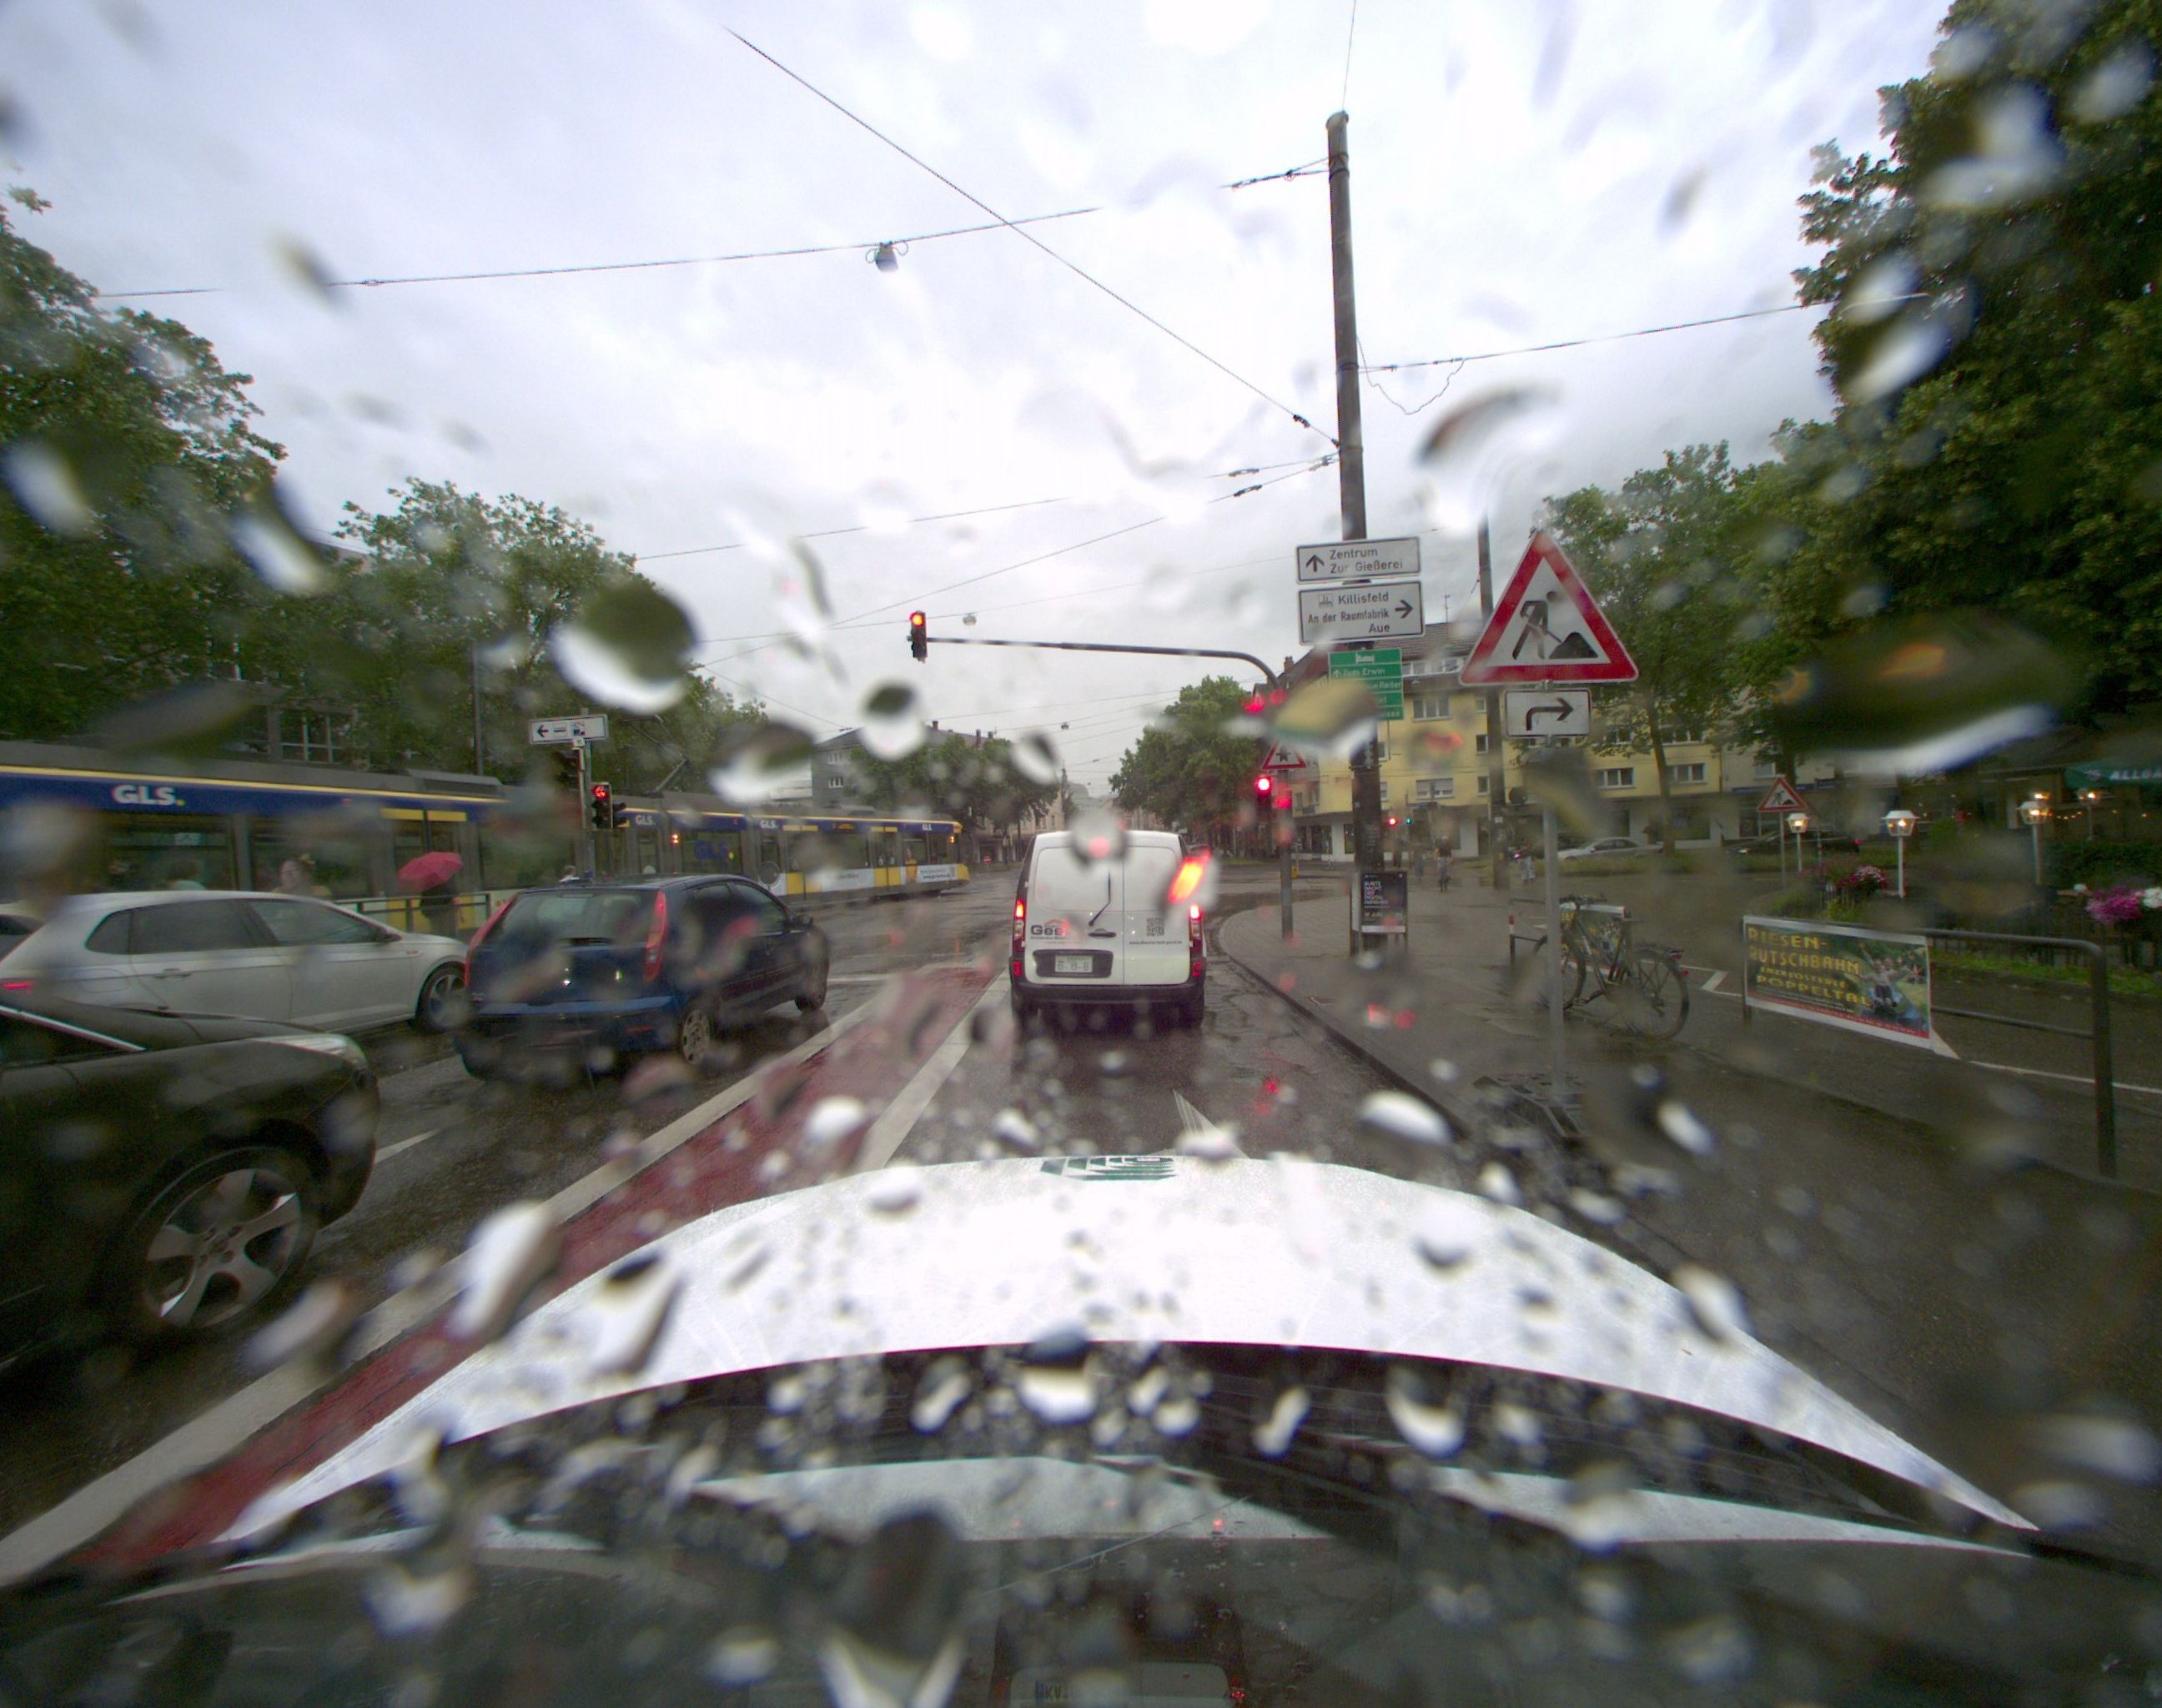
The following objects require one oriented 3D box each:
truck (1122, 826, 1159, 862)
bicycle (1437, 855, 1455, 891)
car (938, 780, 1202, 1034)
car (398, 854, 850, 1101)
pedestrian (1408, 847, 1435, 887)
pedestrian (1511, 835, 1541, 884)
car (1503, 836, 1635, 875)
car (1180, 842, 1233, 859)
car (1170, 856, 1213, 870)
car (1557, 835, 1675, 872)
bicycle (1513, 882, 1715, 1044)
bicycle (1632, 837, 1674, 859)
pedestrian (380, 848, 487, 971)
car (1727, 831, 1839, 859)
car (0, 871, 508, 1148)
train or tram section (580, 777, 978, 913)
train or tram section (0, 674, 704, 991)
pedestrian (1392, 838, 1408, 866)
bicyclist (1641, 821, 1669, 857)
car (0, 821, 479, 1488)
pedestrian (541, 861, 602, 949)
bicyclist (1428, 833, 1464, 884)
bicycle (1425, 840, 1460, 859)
[{"bbox_3d":[9.018,-1.411,125.541,3.463,5.087,15.284,-1,0,-4],"label":"truck"},{"bbox_3d":[11.676,0.592,26.053,0.454,1.027,1.913,-1,1,25],"label":"bicycle"},{"bbox_3d":[-0.010,0.450,9.097,2.092,2.012,4.965,-2,-1,2],"label":"car"},{"bbox_3d":[-3.511,0.806,7.193,1.720,1.578,3.822,-1,0,2],"label":"car"},{"bbox_3d":[13.388,0.506,32.016,0.820,1.534,0.616,-1,-1,-37],"label":"pedestrian"},{"bbox_3d":[15.717,0.193,28.774,0.896,1.669,1.026,-1,0,29],"label":"pedestrian"},{"bbox_3d":[22.859,0.110,38.372,4.902,1.643,2.007,-1,-3,14],"label":"car"},{"bbox_3d":[10.631,-0.315,68.886,4.160,1.339,1.518,-2,1,-6],"label":"car"},{"bbox_3d":[9.519,0.770,70.343,3.437,1.130,1.468,-1,0,-6],"label":"car"},{"bbox_3d":[23.043,-0.036,35.224,3.906,1.490,1.815,-1,1,17],"label":"car"},{"bbox_3d":[4.488,0.846,7.046,0.512,1.107,2.018,1,0,3],"label":"bicycle"},{"bbox_3d":[26.515,-0.279,37.750,1.631,1.002,0.422,-1,0,2],"label":"bicycle"},{"bbox_3d":[-9.821,0.806,12.393,0.763,1.746,0.899,-4,1,1],"label":"pedestrian"},{"bbox_3d":[29.281,-0.377,34.032,3.511,1.082,1.248,-1,0,4],"label":"car"},{"bbox_3d":[-6.772,0.927,6.501,1.623,1.494,3.783,-1,0,2],"label":"car"},{"bbox_3d":[-8.902,-0.215,28.378,3.510,3.413,15.585,0,0,21],"label":"train or tram section"},{"bbox_3d":[-12.751,-0.223,14.911,3.492,3.512,13.695,0,0,9],"label":"train or tram section"},{"bbox_3d":[16.873,-0.104,43.090,0.614,1.500,0.556,-1,-1,37],"label":"pedestrian"},{"bbox_3d":[26.598,-0.691,37.739,0.811,1.615,0.711,-1,0,2],"label":"bicyclist"},{"bbox_3d":[-3.646,0.765,1.518,1.827,1.668,4.174,-1,0,2],"label":"car"},{"bbox_3d":[-9.602,0.950,15.370,0.621,1.607,0.744,-1,0,9],"label":"pedestrian"},{"bbox_3d":[11.676,0.140,26.076,0.872,1.583,0.863,-1,0,12],"label":"bicyclist"},{"bbox_3d":[24.332,-0.296,54.857,2.085,1.261,0.534,-1,1,16],"label":"bicycle"}]
